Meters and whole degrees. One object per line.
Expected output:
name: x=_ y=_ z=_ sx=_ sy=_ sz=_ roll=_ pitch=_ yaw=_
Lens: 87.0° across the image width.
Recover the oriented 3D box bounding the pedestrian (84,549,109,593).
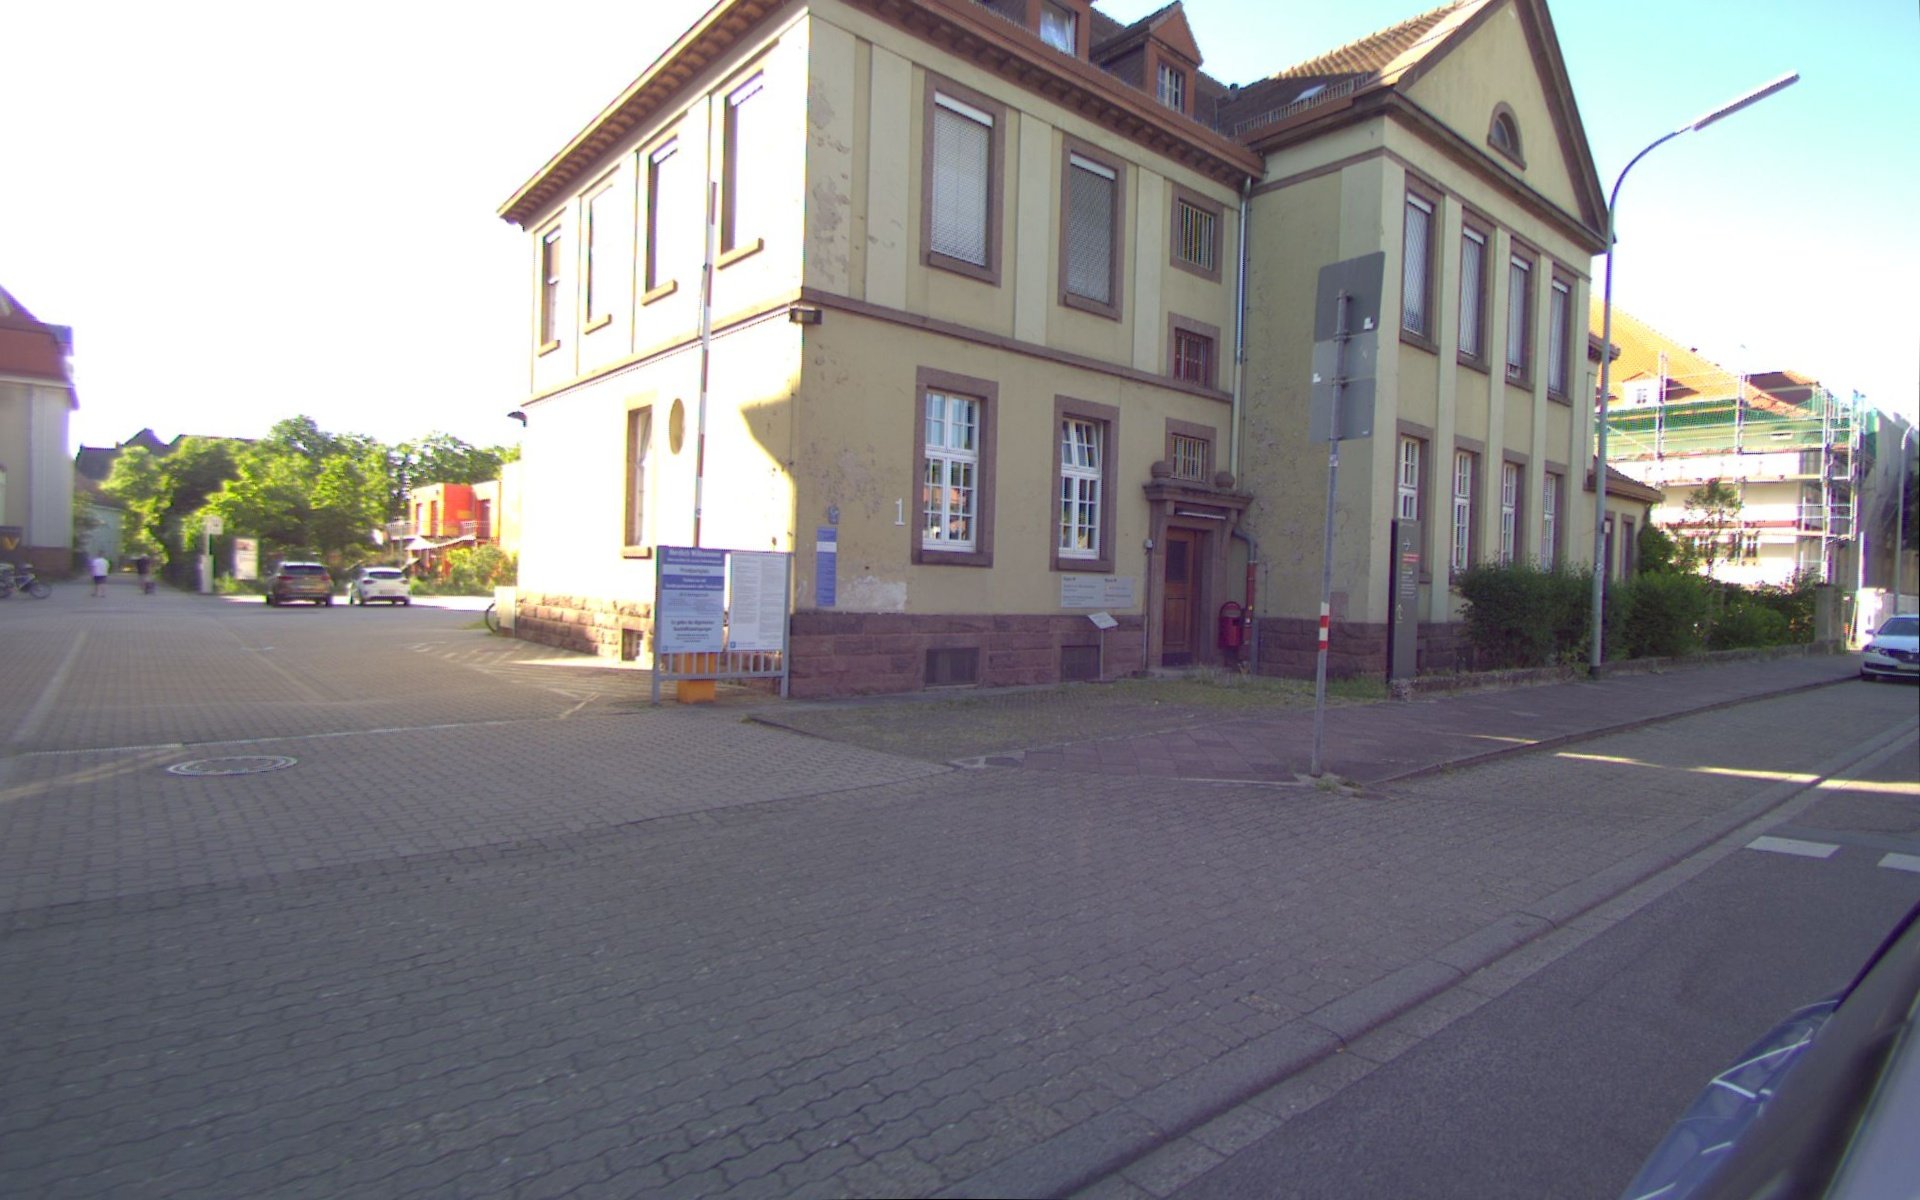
pedestrian: x=-34.382 y=-1.157 z=40.317 sx=0.725 sy=1.739 sz=0.586 roll=1 pitch=1 yaw=-43

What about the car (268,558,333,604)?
car: x=-24.085 y=-0.706 z=37.030 sx=1.752 sy=1.576 sz=3.451 roll=1 pitch=1 yaw=-30

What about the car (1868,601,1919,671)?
car: x=20.617 y=0.745 z=21.181 sx=4.417 sy=1.339 sz=1.836 roll=0 pitch=2 yaw=-41

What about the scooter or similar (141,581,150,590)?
scooter or similar: x=-35.828 y=-0.635 z=44.536 sx=0.289 sy=0.417 sz=0.269 roll=1 pitch=1 yaw=-42

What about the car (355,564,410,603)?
car: x=-22.166 y=-0.654 z=38.879 sx=1.752 sy=1.418 sz=3.451 roll=1 pitch=1 yaw=-30

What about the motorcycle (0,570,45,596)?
motorcycle: x=-35.102 y=-0.623 z=37.808 sx=1.372 sy=0.931 sz=0.322 roll=1 pitch=-1 yaw=-43

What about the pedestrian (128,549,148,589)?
pedestrian: x=-36.408 y=-1.362 z=44.831 sx=0.631 sy=1.739 sz=0.491 roll=1 pitch=1 yaw=-43
